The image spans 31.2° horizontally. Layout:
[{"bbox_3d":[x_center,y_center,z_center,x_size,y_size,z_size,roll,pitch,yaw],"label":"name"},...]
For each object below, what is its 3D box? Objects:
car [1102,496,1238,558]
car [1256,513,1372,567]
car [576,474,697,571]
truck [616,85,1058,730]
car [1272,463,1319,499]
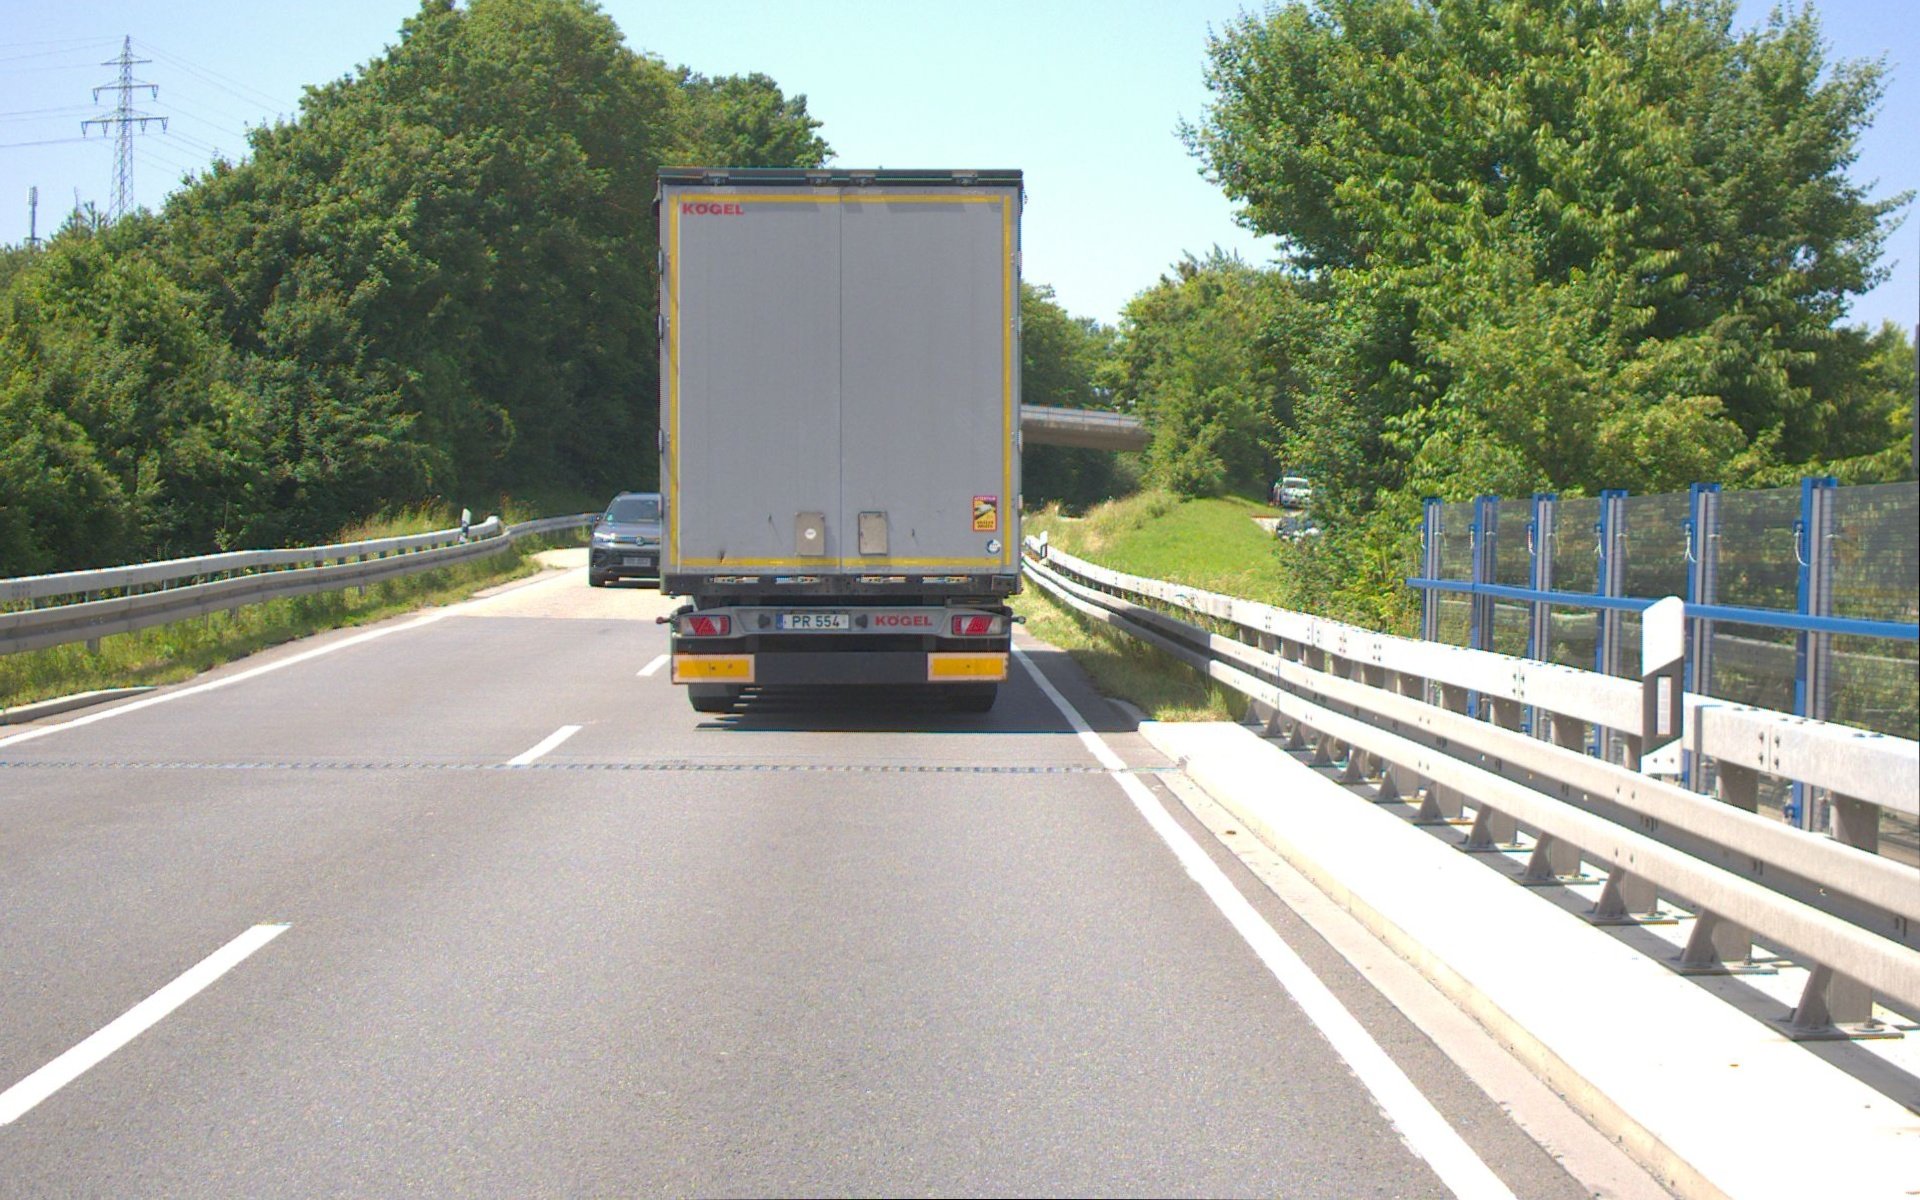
[{"bbox_3d":[7.402,-2.558,120.860,4.363,1.679,1.889,4,6,-36],"label":"car"},{"bbox_3d":[14.361,-2.436,139.405,4.363,1.679,1.889,4,6,-36],"label":"car"},{"bbox_3d":[-5.702,-1.397,61.014,1.865,1.605,4.373,1,2,-2],"label":"car"},{"bbox_3d":[-0.959,-1.552,28.814,2.866,4.344,9.791,3,3,-1],"label":"truck"},{"bbox_3d":[16.300,-5.790,167.075,1.624,1.348,3.712,7,5,-3],"label":"car"}]
